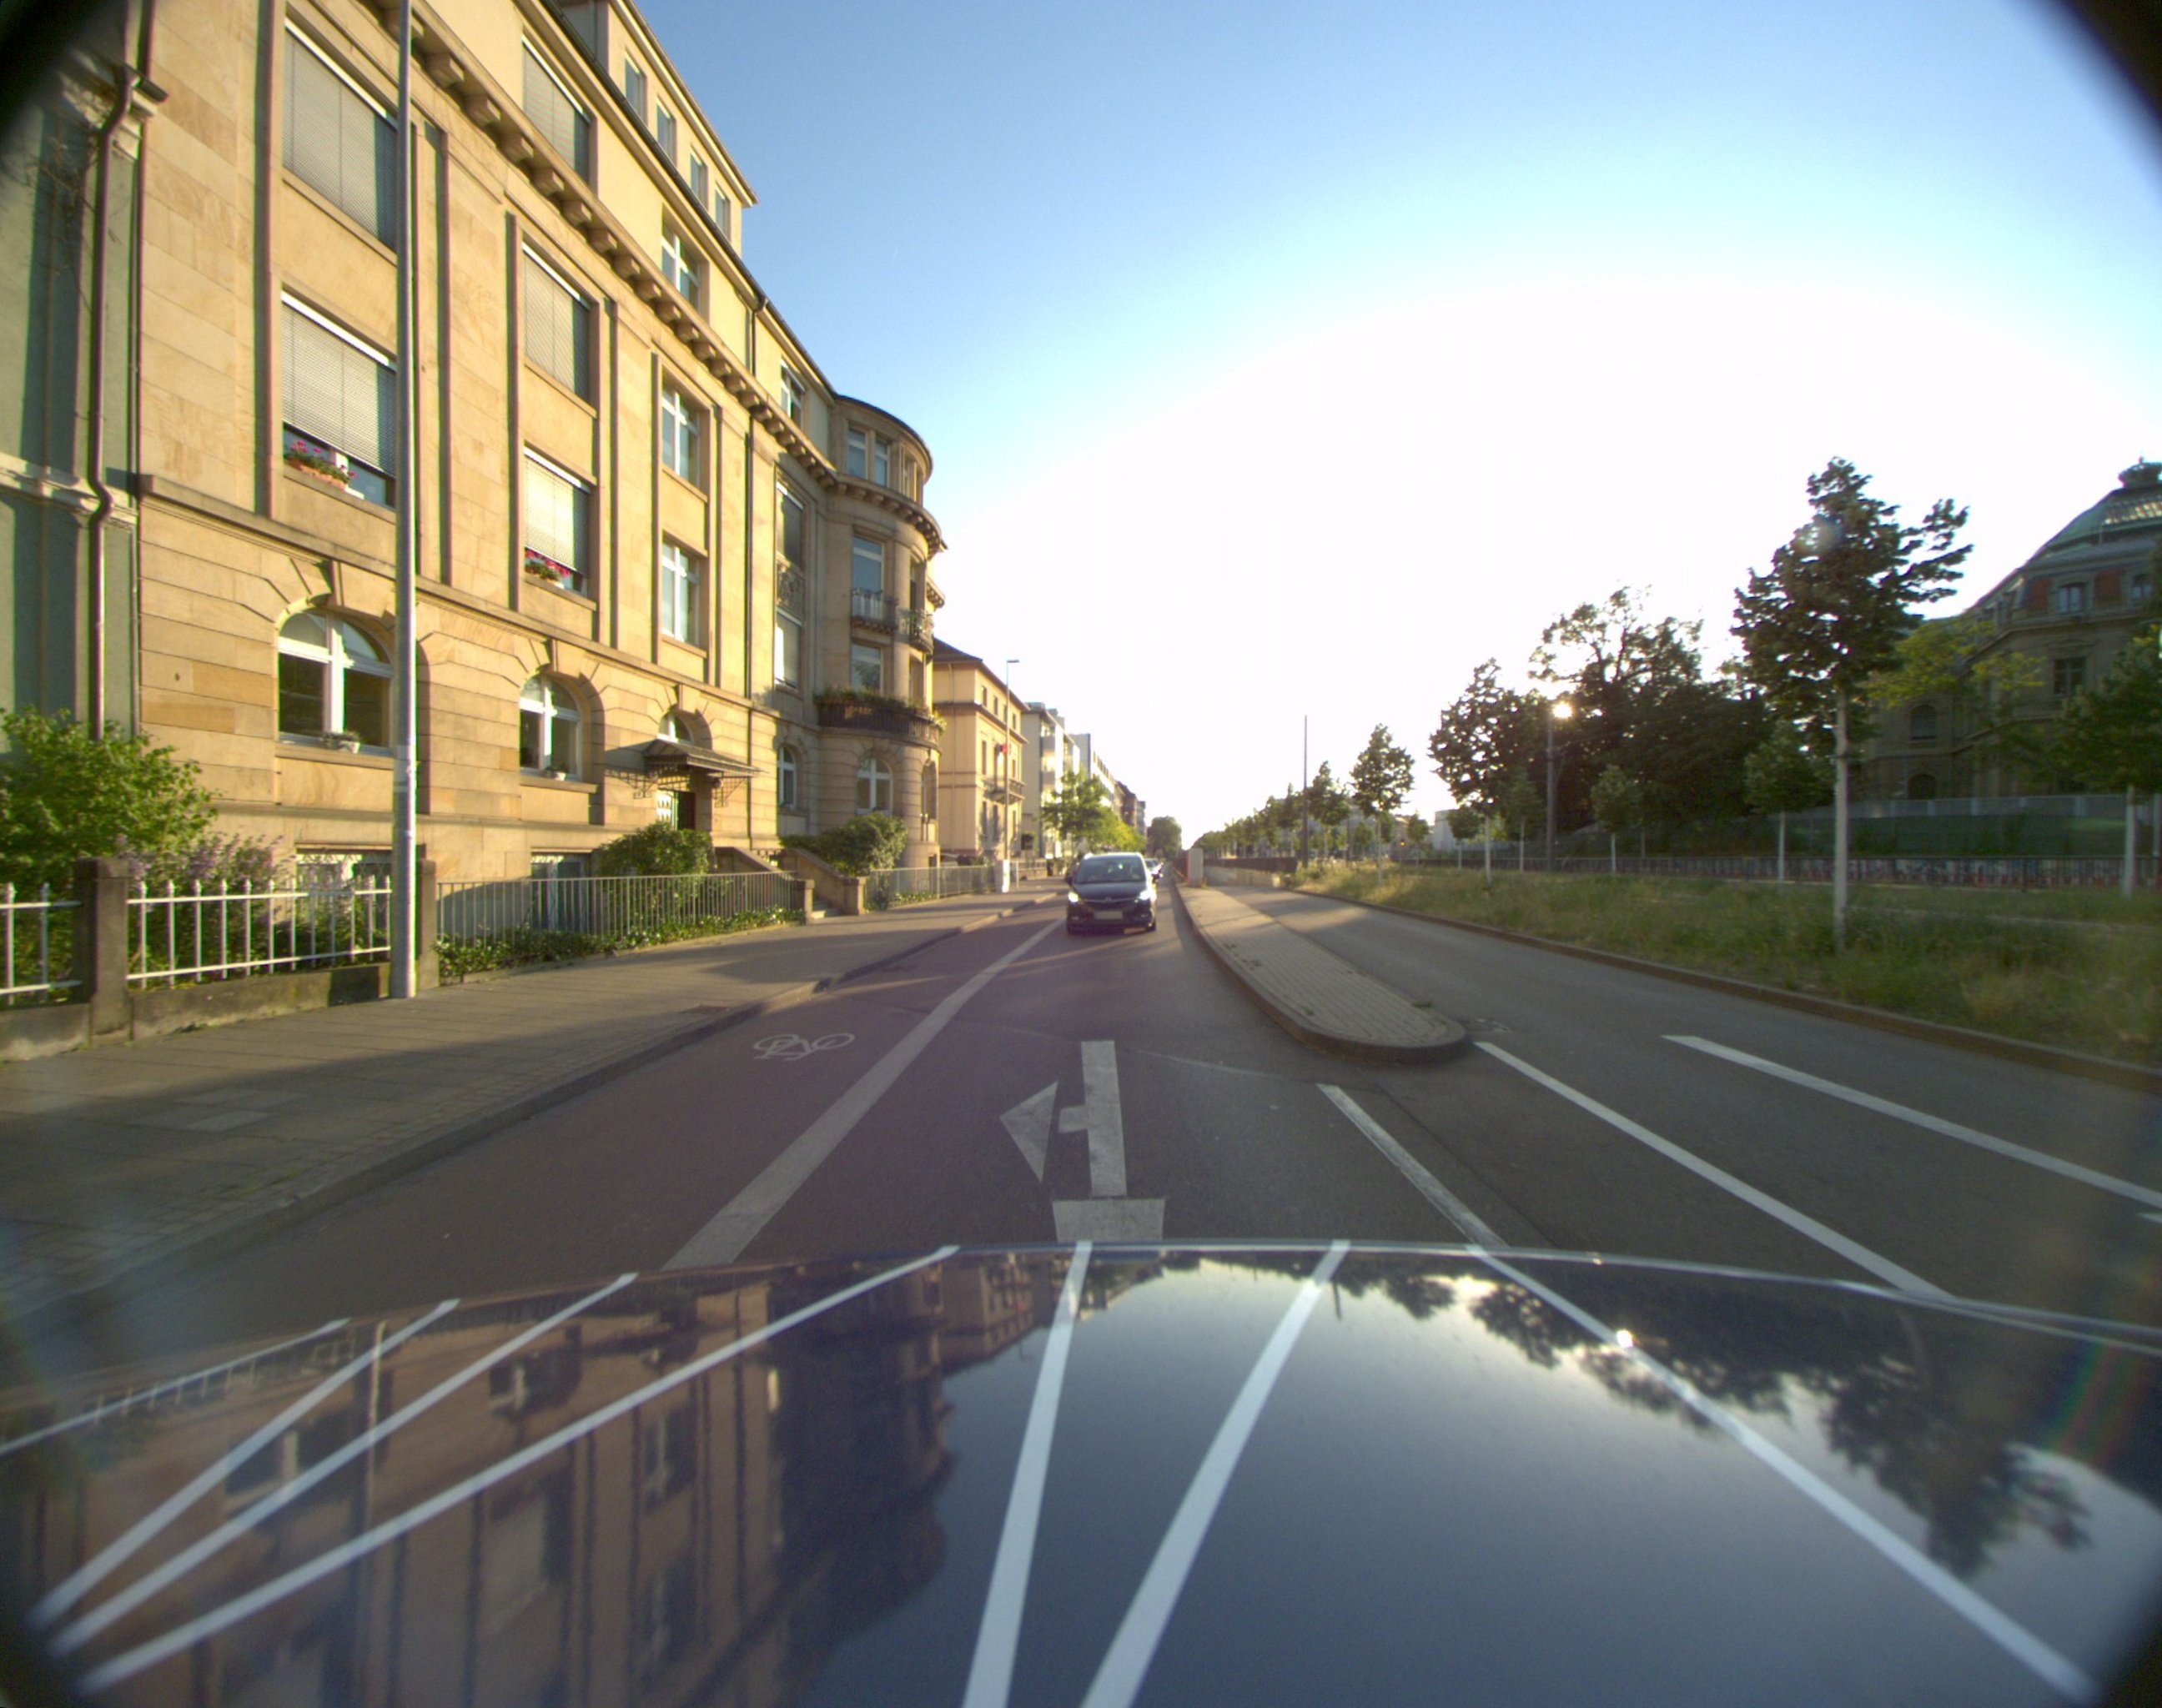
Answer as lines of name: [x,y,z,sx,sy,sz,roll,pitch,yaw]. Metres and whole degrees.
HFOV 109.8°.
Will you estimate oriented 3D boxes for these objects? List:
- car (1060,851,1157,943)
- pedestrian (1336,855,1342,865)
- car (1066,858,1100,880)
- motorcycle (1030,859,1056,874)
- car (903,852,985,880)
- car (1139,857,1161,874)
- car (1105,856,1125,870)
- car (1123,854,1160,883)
car: [0.700,0.777,16.287,1.770,1.649,4.854,0,0,5]
pedestrian: [47.498,1.073,139.679,0.811,1.836,0.838,-2,0,1]
car: [0.175,0.972,50.721,1.881,1.394,4.102,-1,0,5]
motorcycle: [-2.928,0.967,58.289,1.847,1.090,0.576,-1,0,12]
car: [-7.577,0.642,42.234,4.095,1.472,1.939,-1,0,7]
car: [6.181,1.052,67.916,1.858,1.425,4.846,-1,-1,6]
car: [3.602,0.920,79.617,1.936,1.472,4.102,-1,0,5]
car: [3.336,0.812,41.118,1.858,1.425,4.846,-1,-1,6]
